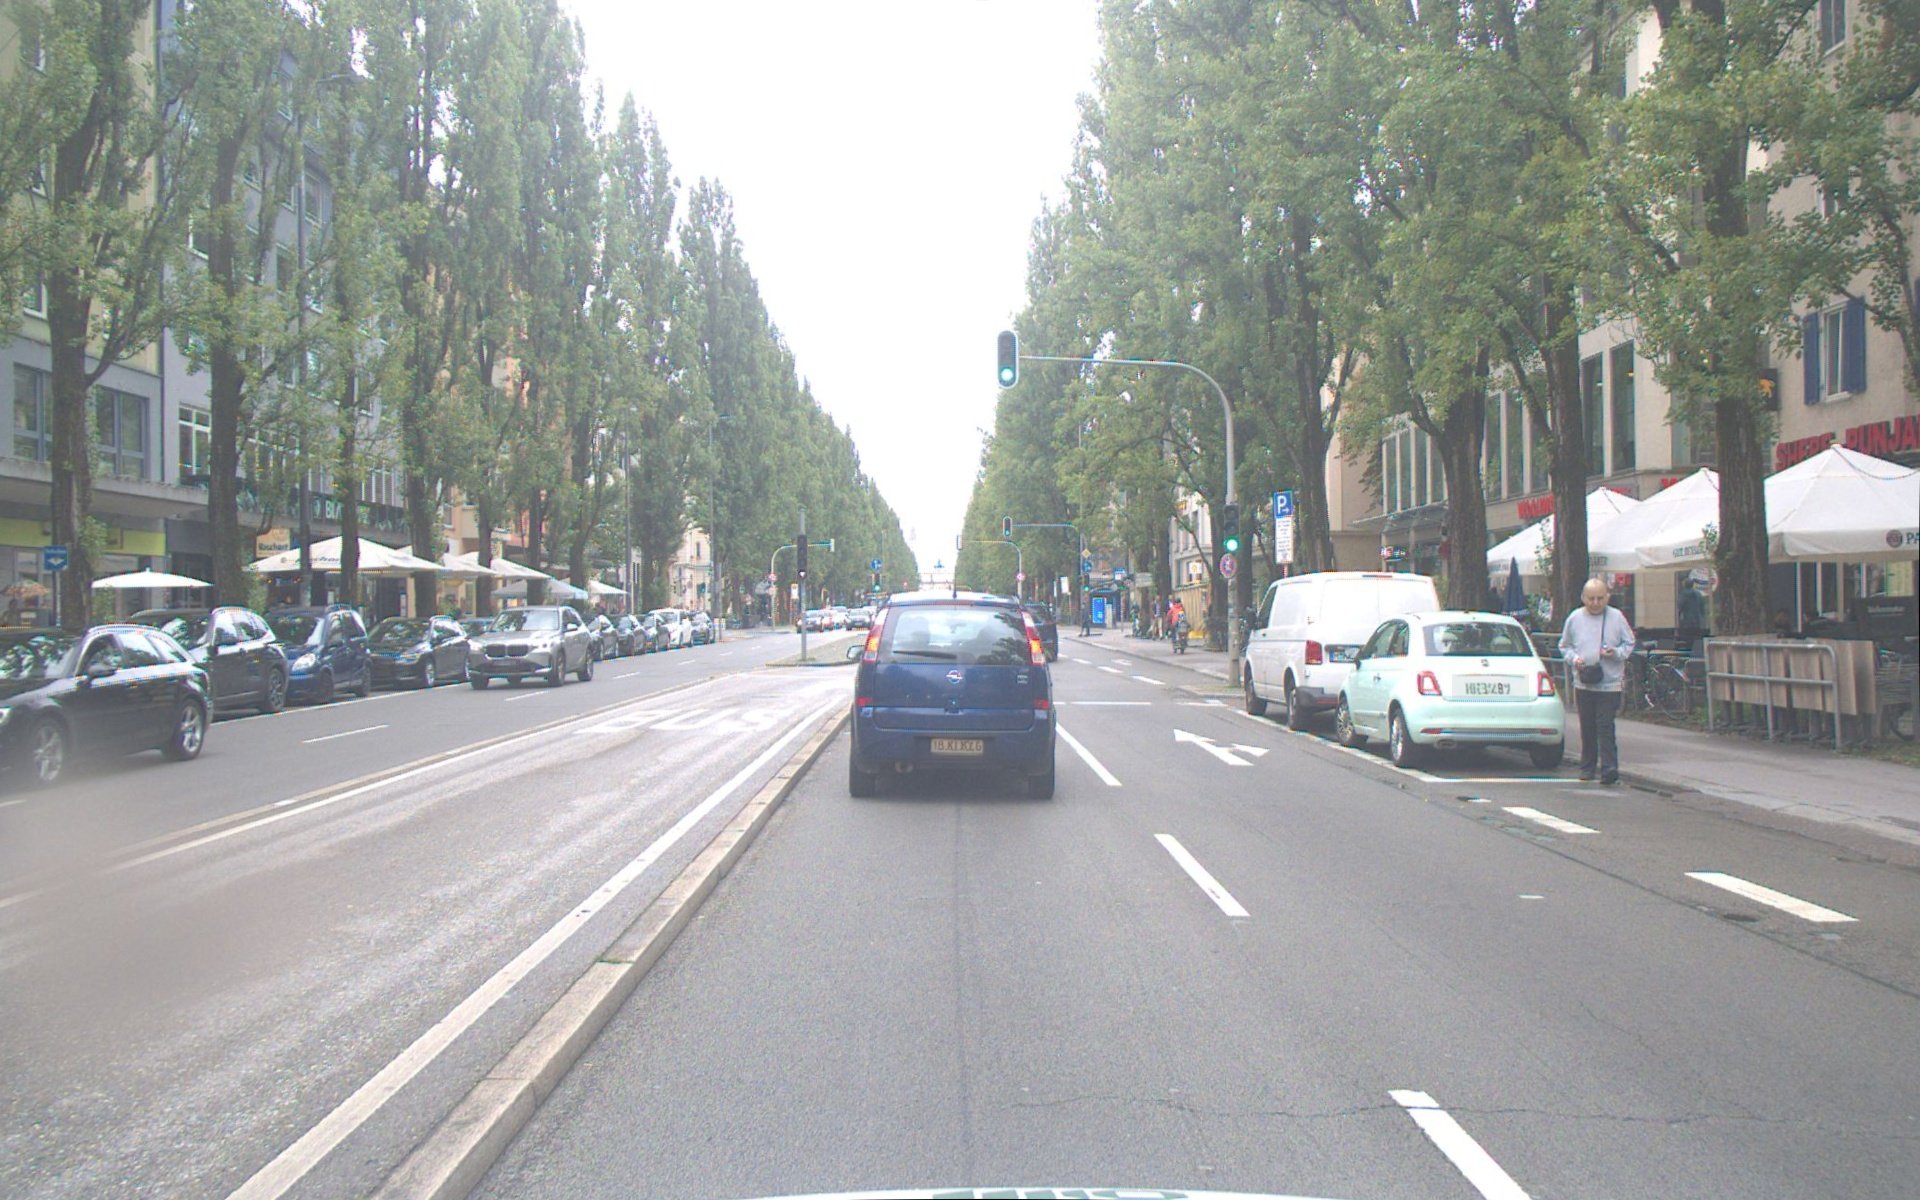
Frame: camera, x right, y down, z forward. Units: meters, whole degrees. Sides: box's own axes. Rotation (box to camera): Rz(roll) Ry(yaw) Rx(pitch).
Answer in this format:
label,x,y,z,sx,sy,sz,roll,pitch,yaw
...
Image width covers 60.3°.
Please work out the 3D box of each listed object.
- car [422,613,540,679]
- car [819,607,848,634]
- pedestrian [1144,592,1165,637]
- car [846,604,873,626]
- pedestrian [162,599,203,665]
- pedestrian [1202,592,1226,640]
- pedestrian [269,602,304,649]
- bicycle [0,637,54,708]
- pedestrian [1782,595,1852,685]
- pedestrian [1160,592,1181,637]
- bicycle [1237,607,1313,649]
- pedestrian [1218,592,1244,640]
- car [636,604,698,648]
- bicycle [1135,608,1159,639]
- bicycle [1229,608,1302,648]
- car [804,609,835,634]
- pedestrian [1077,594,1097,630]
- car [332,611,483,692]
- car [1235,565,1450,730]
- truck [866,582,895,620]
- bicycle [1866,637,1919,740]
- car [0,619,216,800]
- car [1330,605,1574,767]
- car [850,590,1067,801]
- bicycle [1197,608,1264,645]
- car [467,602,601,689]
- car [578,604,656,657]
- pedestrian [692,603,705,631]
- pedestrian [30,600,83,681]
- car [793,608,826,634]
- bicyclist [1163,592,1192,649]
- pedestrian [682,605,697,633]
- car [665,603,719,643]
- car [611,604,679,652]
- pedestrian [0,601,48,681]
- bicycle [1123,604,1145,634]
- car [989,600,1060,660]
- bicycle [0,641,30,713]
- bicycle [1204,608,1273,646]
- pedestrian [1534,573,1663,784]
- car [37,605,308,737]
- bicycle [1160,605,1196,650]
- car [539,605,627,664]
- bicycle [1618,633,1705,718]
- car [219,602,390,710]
label,x,y,z,sx,sy,sz,roll,pitch,yaw
car,-11.725,1.090,40.715,1.698,1.450,4.142,-2,0,-1
car,-9.679,1.564,126.642,1.953,2.049,3.999,-1,0,-1
pedestrian,8.122,0.622,69.113,0.625,1.859,0.885,1,-1,-11
car,-6.995,1.020,115.121,1.699,1.491,3.364,-1,0,-1
pedestrian,-20.526,0.850,43.686,0.740,1.715,0.675,-1,-1,0
pedestrian,9.868,0.620,64.307,0.625,1.859,0.885,1,-1,-11
pedestrian,-20.517,0.777,50.384,0.750,1.434,0.799,1,-1,-6
bicycle,-16.119,1.176,27.250,1.909,1.114,0.718,2,0,-7
pedestrian,13.088,0.601,25.277,0.625,1.347,0.800,-1,0,-1
pedestrian,8.843,0.597,69.502,0.625,1.859,0.885,1,-1,-11
bicycle,9.675,0.864,50.785,2.182,1.225,0.626,-1,0,-3
pedestrian,10.621,0.636,64.821,0.707,1.859,0.885,1,-1,-11
car,-12.087,1.039,68.448,1.828,1.695,4.119,-2,0,-1
bicycle,8.356,1.040,74.043,0.757,1.372,2.449,-1,0,-1
bicycle,9.665,0.882,52.391,2.182,1.225,0.626,-1,0,-3
car,-9.890,1.477,116.664,1.828,1.695,4.119,-1,0,-1
pedestrian,6.490,0.615,84.579,0.865,1.797,0.769,-1,0,-4
car,-11.681,1.047,35.270,1.762,1.515,4.349,-2,0,-1
car,5.012,0.572,22.334,1.751,1.980,4.729,0,0,-1
truck,-7.302,0.108,152.243,2.334,3.405,7.109,-1,0,-1
bicycle,9.717,0.888,16.576,0.342,1.013,1.453,-2,-1,-4
car,-8.843,0.962,15.670,1.710,1.459,4.129,-2,0,-1
car,5.021,0.821,17.317,1.509,1.518,3.523,0,0,0
car,-0.026,0.725,14.538,1.637,1.596,3.999,0,0,-1
bicycle,9.256,0.909,56.676,2.182,1.225,0.626,-1,0,-3
car,-8.876,0.900,34.801,1.735,1.663,4.454,-2,0,-2
car,-11.915,1.041,57.663,1.828,1.695,4.119,-2,0,-1
pedestrian,-16.889,1.119,106.931,0.754,1.797,0.883,-1,0,-12
pedestrian,-19.592,0.870,35.878,0.740,1.715,0.675,-1,-1,1
car,-10.027,1.376,110.313,1.828,1.695,4.119,-1,0,-1
bicyclist,6.934,0.662,52.786,0.752,1.797,0.885,-1,0,-1
pedestrian,-17.786,1.237,108.808,0.757,1.797,0.878,0,0,-25
car,-12.235,1.022,75.721,1.828,1.695,4.119,-2,0,-1
car,-11.994,1.036,63.188,1.828,1.695,4.119,-2,0,-1
pedestrian,-20.398,0.892,35.952,0.740,1.715,0.675,-1,-1,1
bicycle,8.309,0.894,78.983,0.757,1.372,2.449,-1,0,-1
car,1.821,0.834,47.867,1.858,1.650,3.999,0,0,-1
bicycle,-16.048,1.207,26.420,1.909,1.114,0.718,2,0,-7
bicycle,9.300,0.899,55.298,2.182,1.225,0.626,-1,0,-3
pedestrian,5.679,0.672,14.705,0.815,1.804,0.866,-1,-1,41
car,-11.520,0.958,24.601,1.828,1.693,4.610,-2,0,-1
bicycle,6.938,0.867,52.717,0.757,1.372,2.449,-1,0,-1
car,-11.863,1.056,52.247,1.828,1.695,4.119,-2,0,-1
bicycle,8.843,0.931,20.898,0.342,1.013,1.453,-2,-1,-4
car,-11.750,0.944,29.915,1.675,1.751,3.919,-2,0,-4
